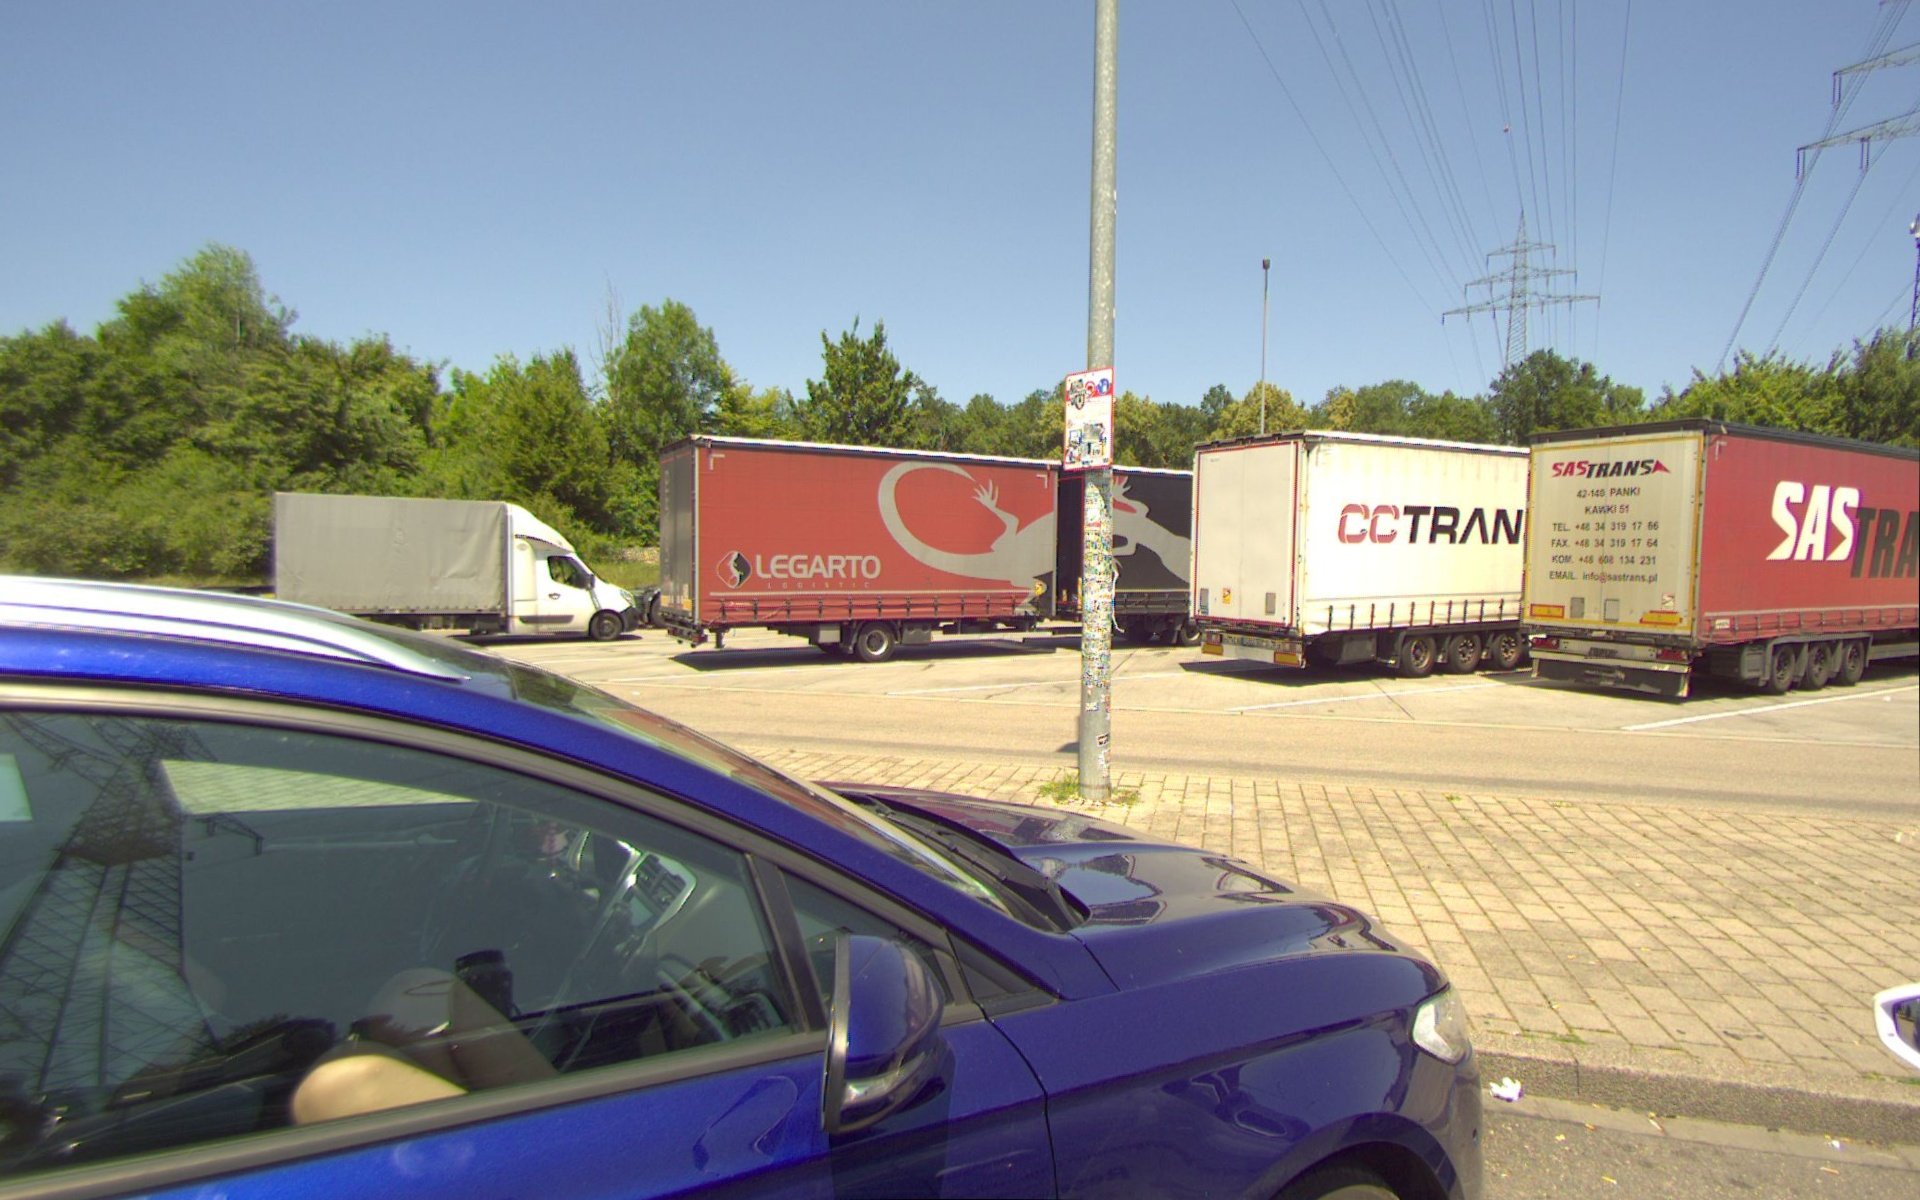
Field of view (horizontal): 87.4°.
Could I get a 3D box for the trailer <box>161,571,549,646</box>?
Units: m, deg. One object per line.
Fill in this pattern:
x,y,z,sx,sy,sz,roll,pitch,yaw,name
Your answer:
-14.754,0.109,25.228,8.007,1.648,2.199,-1,3,-30,trailer

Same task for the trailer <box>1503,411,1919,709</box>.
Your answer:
15.463,-0.673,18.611,13.599,4.127,2.807,-1,3,-31,trailer

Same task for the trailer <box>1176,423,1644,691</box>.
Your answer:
8.969,-0.767,19.344,10.264,4.158,2.693,-1,3,-30,trailer

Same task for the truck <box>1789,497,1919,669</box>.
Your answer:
21.254,-0.400,22.049,5.903,3.409,2.798,-1,3,-30,truck

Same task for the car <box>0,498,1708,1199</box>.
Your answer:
-0.972,0.654,1.449,4.522,1.491,1.743,0,2,-32,car

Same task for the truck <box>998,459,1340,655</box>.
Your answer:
5.267,-0.995,24.537,8.586,4.127,2.693,-1,3,-30,truck

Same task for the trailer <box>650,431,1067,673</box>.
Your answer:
-1.885,-0.900,20.327,8.007,4.127,2.693,-1,3,-30,trailer

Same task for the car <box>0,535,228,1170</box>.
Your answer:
-4.413,0.582,2.085,4.522,1.526,1.743,0,2,-32,car

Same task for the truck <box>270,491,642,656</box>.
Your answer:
-11.243,-0.618,22.989,7.187,3.289,2.694,-1,3,-29,truck
